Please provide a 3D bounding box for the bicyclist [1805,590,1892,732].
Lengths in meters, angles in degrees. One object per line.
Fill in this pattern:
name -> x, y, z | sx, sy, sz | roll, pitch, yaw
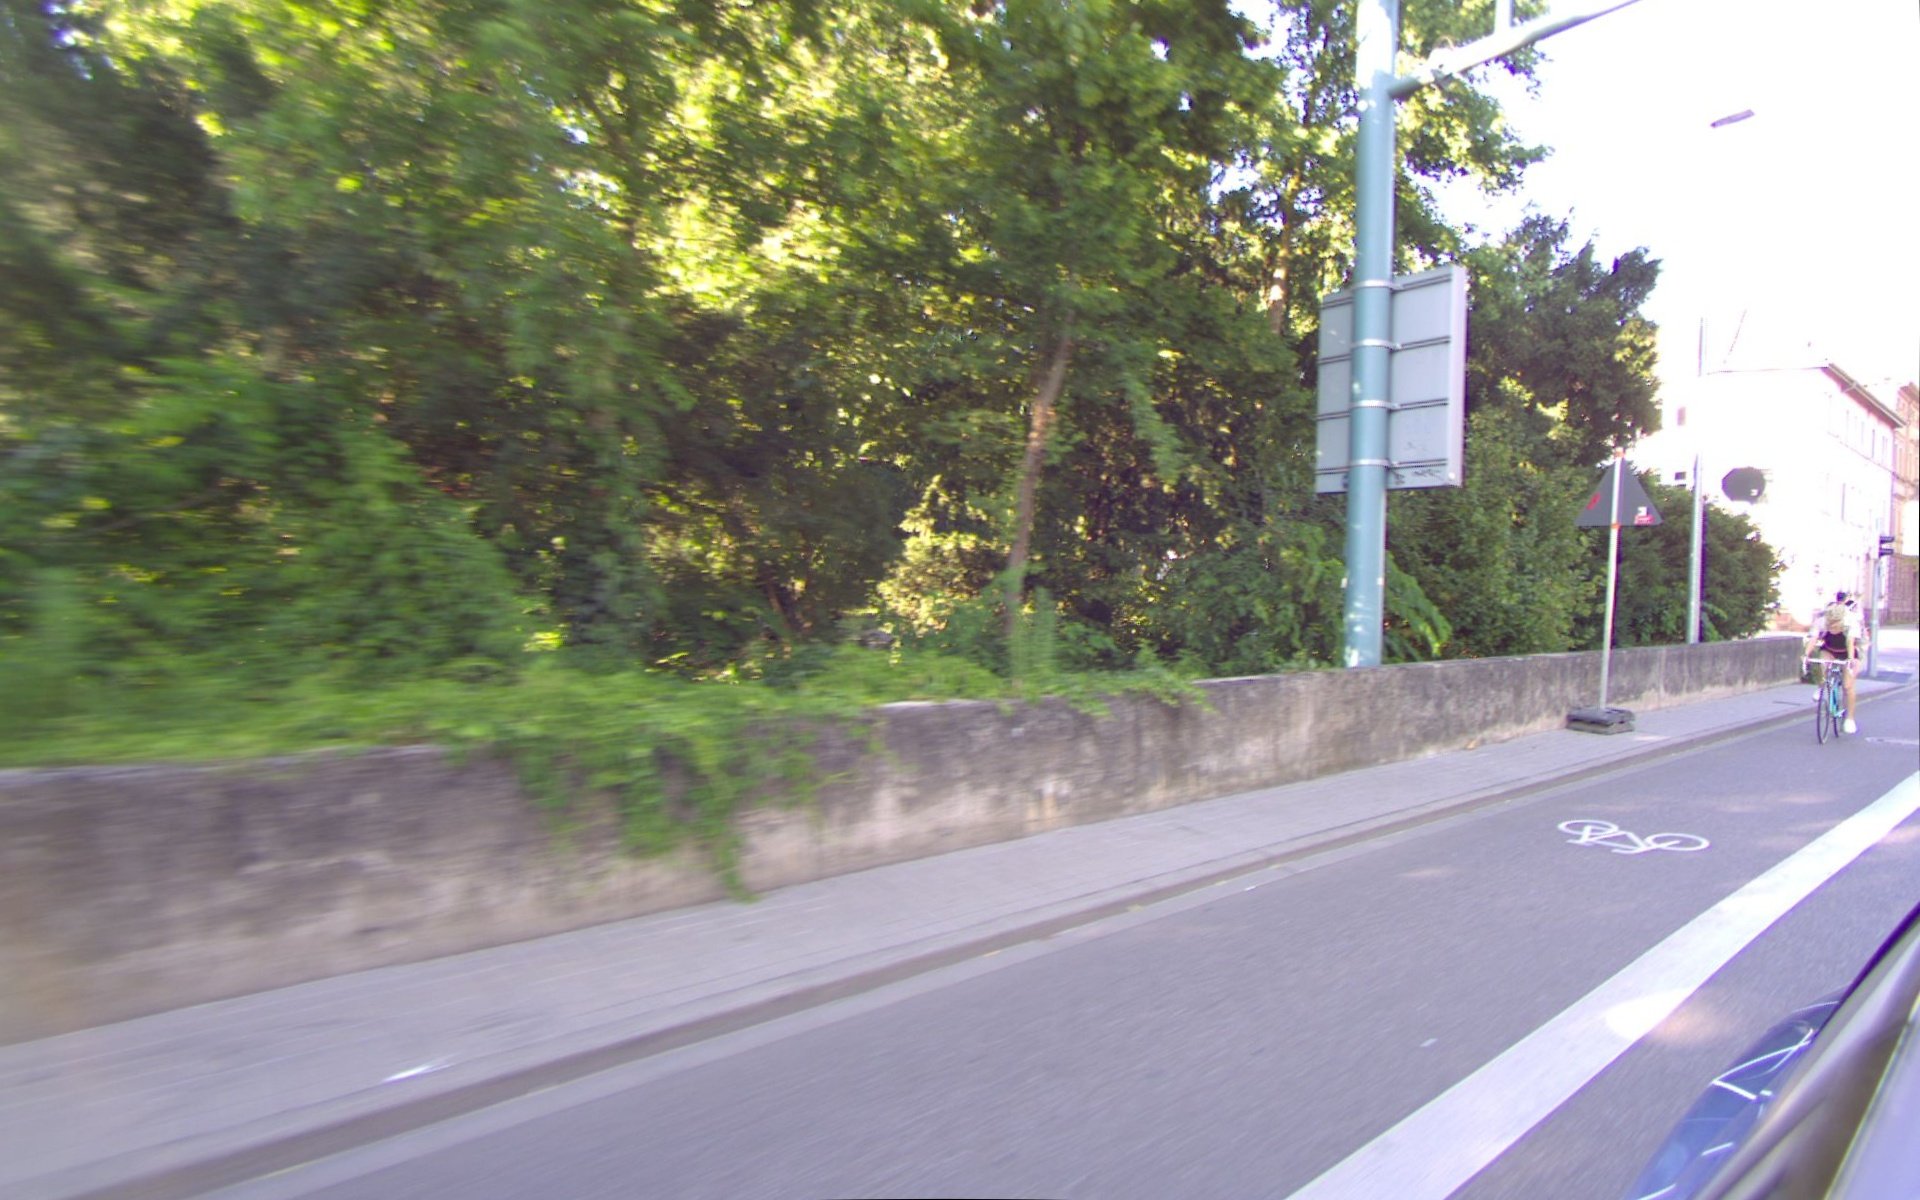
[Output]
bicyclist -> 9.978, 0.652, 11.358 | 1.062, 1.509, 0.553 | 1, 1, -40

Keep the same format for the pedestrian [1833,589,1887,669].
pedestrian -> 19.645, 0.619, 22.109 | 0.766, 1.656, 0.758 | 4, 3, 41

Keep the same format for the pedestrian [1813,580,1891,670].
pedestrian -> 19.050, 0.515, 21.637 | 0.847, 1.824, 0.903 | 3, 2, 16

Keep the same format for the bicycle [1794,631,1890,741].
bicycle -> 9.896, 0.919, 11.338 | 1.810, 1.111, 0.521 | 0, -2, -40
